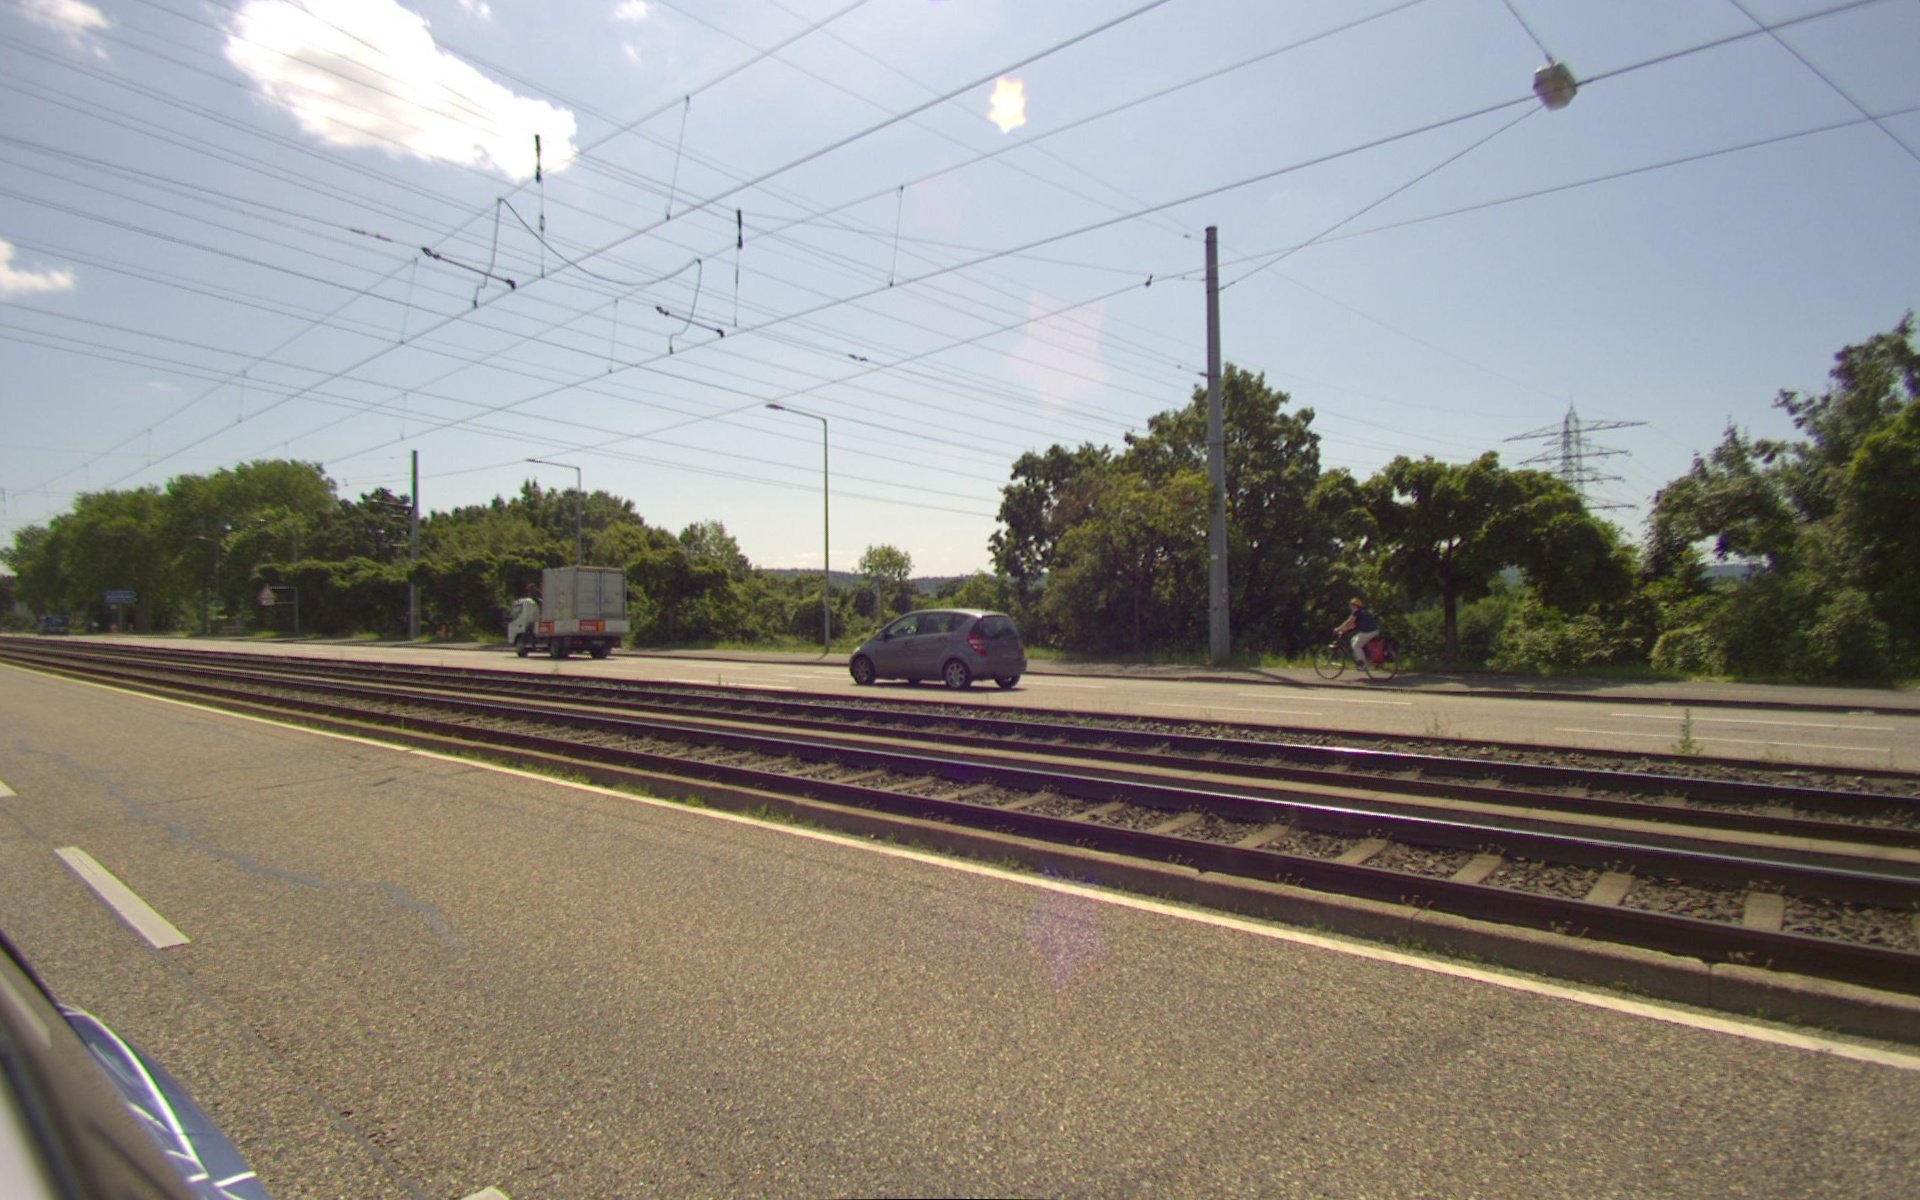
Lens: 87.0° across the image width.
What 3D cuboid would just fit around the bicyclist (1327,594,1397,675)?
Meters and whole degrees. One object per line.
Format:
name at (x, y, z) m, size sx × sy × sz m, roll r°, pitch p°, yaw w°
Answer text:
bicyclist at (8.403, 0.708, 21.166) m, size 1.156 × 1.632 × 0.643 m, roll -2°, pitch 0°, yaw 45°

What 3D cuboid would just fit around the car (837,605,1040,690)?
car at (-0.499, 0.928, 20.424) m, size 3.954 × 1.547 × 1.734 m, roll -1°, pitch -2°, yaw 40°

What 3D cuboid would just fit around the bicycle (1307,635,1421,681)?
bicycle at (8.420, 1.185, 21.175) m, size 2.121 × 0.866 × 0.643 m, roll -1°, pitch 0°, yaw 45°

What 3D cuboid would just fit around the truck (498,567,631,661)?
truck at (-14.809, 0.546, 37.707) m, size 6.041 × 3.261 × 2.225 m, roll -1°, pitch -2°, yaw 43°

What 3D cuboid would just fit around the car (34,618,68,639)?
car at (-88.506, 2.759, 98.497) m, size 5.005 × 1.942 × 1.838 m, roll -1°, pitch -3°, yaw 41°
